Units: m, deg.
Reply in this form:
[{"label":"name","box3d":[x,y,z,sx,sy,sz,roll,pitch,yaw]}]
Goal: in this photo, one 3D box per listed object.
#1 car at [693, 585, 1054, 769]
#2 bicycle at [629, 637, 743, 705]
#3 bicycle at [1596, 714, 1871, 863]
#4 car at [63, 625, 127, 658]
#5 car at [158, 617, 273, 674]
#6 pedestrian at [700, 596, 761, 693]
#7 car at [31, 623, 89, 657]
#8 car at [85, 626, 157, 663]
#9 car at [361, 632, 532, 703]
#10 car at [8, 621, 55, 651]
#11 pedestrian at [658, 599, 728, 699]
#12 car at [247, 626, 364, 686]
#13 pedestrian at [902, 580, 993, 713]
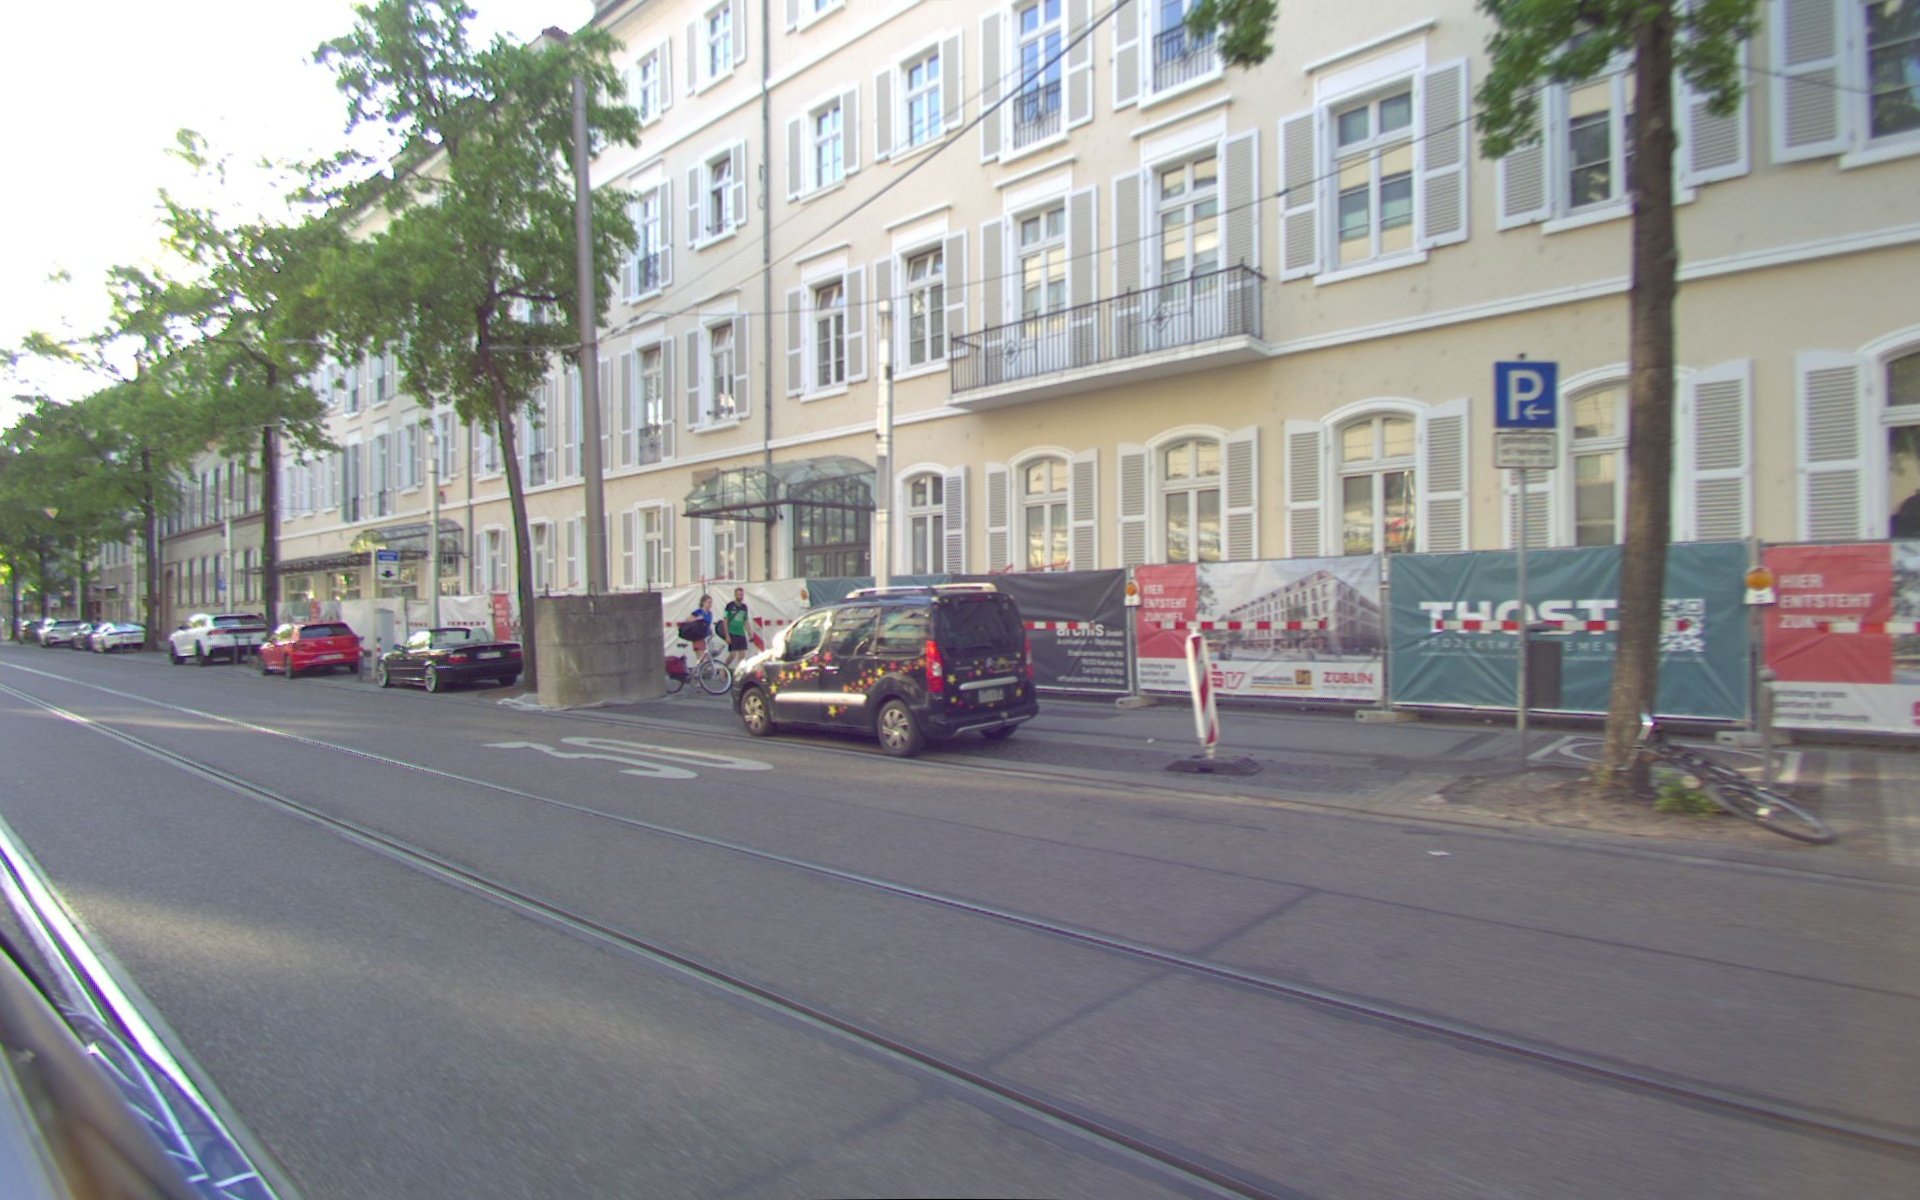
[{"label":"car","box3d":[-1.222,0.807,12.443,4.559,1.846,1.837,-2,0,43]},{"label":"bicycle","box3d":[-4.969,1.263,18.332,2.039,1.130,0.753,-2,2,31]},{"label":"bicycle","box3d":[5.364,1.222,6.984,1.283,0.613,1.775,-2,0,45]},{"label":"car","box3d":[-44.219,2.114,51.703,4.338,1.477,1.724,-2,1,39]},{"label":"car","box3d":[-25.053,1.493,33.991,4.945,1.701,1.847,-2,1,39]},{"label":"pedestrian","box3d":[-4.475,0.850,19.732,0.876,1.826,0.711,-2,1,41]},{"label":"car","box3d":[-52.864,2.328,59.426,4.764,1.754,1.927,-2,1,42]},{"label":"car","box3d":[-38.521,2.003,46.430,4.616,1.477,1.872,-2,1,43]},{"label":"car","box3d":[-11.081,1.372,21.712,4.506,1.254,1.700,-1,1,42]},{"label":"car","box3d":[-63.787,2.472,69.526,4.764,1.972,1.906,-2,-2,42]},{"label":"pedestrian","box3d":[-5.046,0.903,19.113,0.884,1.795,0.856,-2,1,41]},{"label":"car","box3d":[-17.813,1.461,27.470,4.140,1.416,1.642,-1,1,43]},{"label":"pedestrian","box3d":[-0.180,0.646,14.470,0.984,1.805,0.766,-2,1,43]}]
